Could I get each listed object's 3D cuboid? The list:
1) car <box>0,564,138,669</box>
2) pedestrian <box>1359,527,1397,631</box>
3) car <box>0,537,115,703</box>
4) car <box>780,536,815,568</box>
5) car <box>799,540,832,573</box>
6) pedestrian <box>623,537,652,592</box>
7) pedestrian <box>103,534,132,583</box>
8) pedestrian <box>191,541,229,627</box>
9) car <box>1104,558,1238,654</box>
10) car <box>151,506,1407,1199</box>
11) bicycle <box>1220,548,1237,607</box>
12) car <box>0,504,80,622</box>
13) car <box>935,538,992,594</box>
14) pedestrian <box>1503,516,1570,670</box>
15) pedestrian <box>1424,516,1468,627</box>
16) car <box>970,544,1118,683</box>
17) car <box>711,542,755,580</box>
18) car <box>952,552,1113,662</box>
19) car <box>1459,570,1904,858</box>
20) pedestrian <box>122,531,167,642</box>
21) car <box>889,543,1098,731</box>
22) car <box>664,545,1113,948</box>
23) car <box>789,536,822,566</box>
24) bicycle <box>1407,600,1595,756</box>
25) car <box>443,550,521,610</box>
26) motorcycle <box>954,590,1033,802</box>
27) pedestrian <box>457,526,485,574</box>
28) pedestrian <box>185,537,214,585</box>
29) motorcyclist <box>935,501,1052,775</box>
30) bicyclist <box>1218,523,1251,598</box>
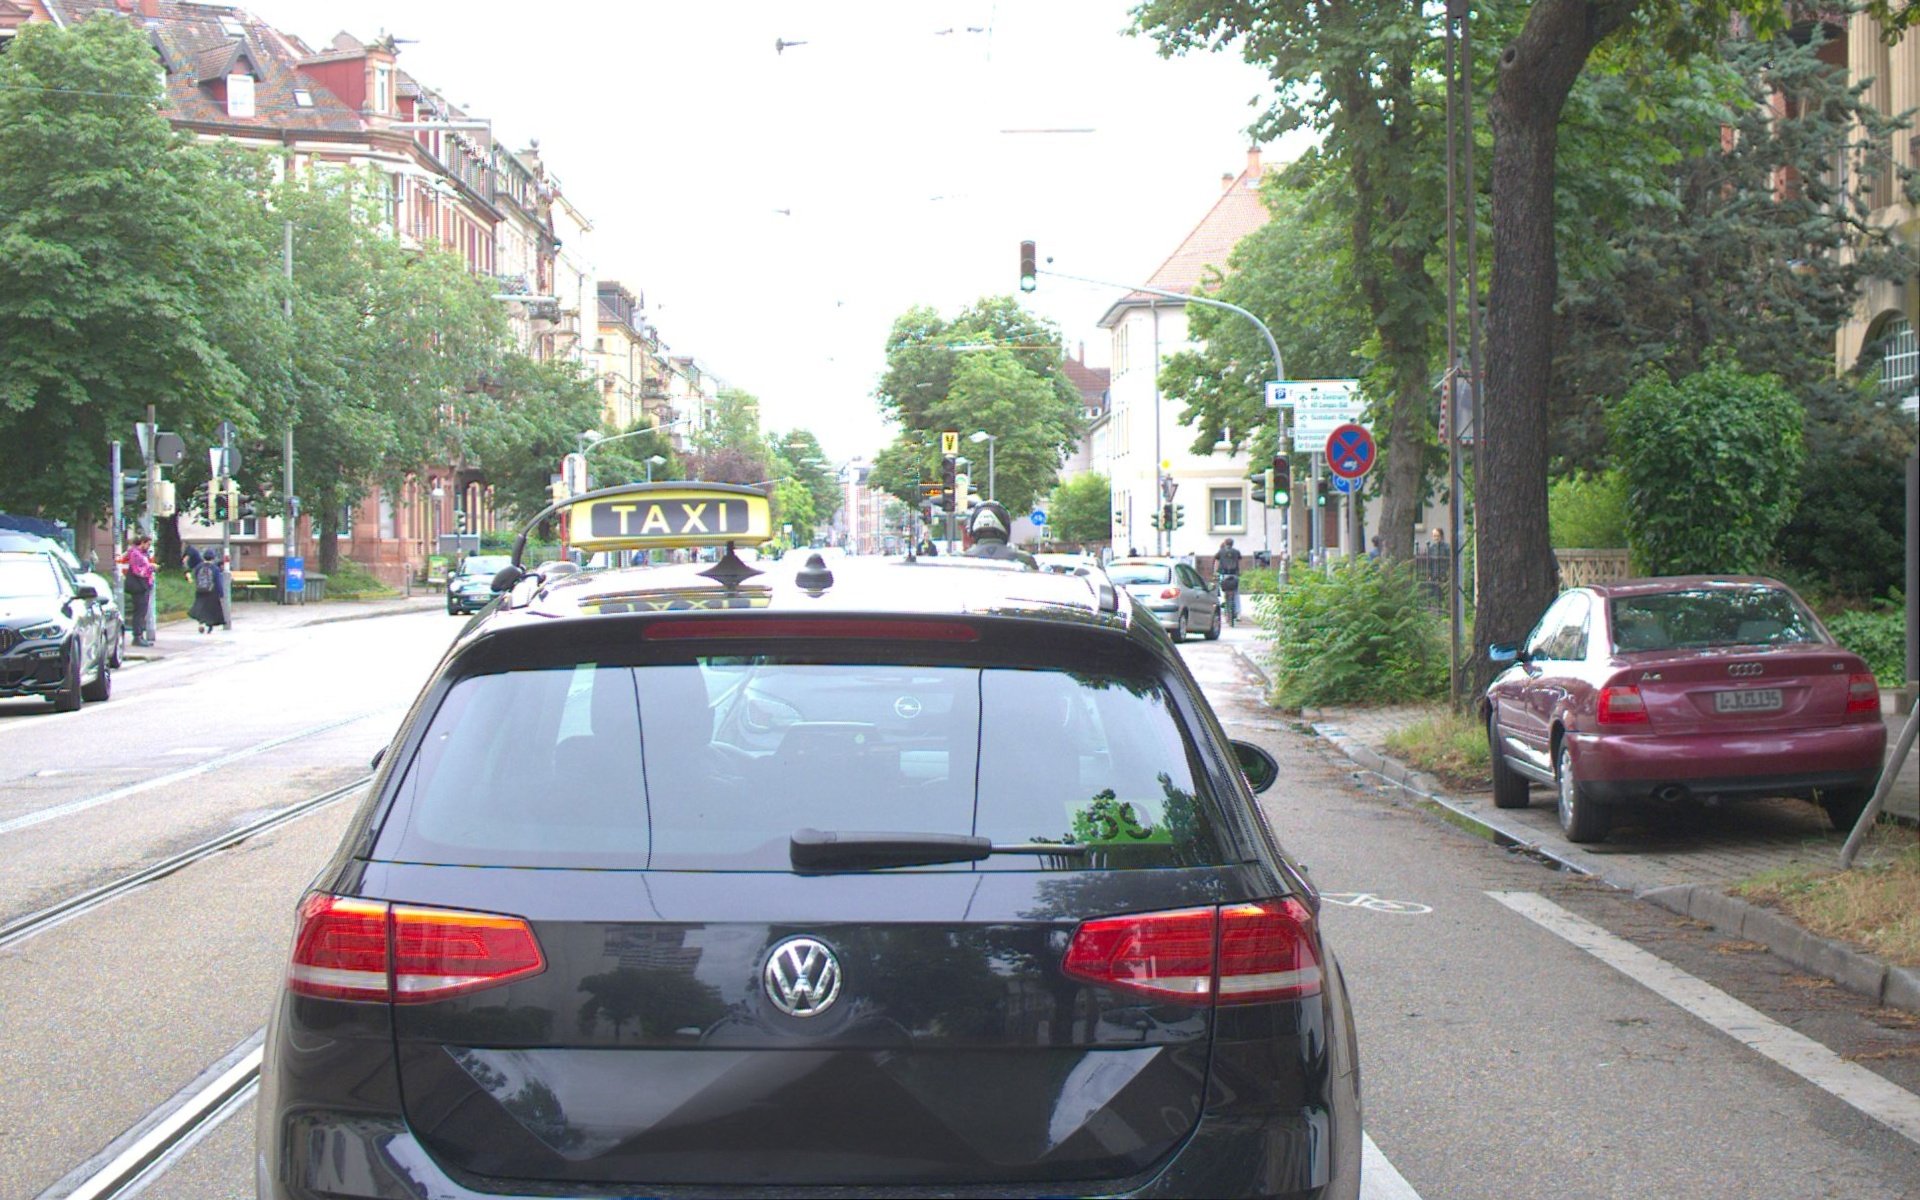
[{"bbox_3d":[-12.956,0.208,48.999,1.648,1.357,4.130,2,1,-3],"label":"car"},{"bbox_3d":[7.480,-0.384,61.566,0.514,1.824,0.417,-3,1,16],"label":"pedestrian"},{"bbox_3d":[-10.145,0.201,36.373,1.882,1.606,4.889,-3,1,-9],"label":"car"},{"bbox_3d":[-8.419,-2.501,178.307,1.721,1.617,3.864,-1,1,-1],"label":"car"},{"bbox_3d":[-8.906,-2.684,212.218,1.993,2.007,4.000,1,0,-2],"label":"car"},{"bbox_3d":[-8.848,-0.979,94.403,0.714,1.515,0.590,0,1,1],"label":"pedestrian"},{"bbox_3d":[-26.455,-1.310,107.956,0.589,1.515,0.647,0,1,35],"label":"pedestrian"},{"bbox_3d":[-14.487,-0.317,66.389,0.589,1.657,0.839,0,1,-4],"label":"pedestrian"},{"bbox_3d":[3.570,0.083,58.856,1.993,1.572,4.000,1,0,-1],"label":"car"},{"bbox_3d":[-0.270,0.607,6.731,1.723,1.541,4.000,0,1,-1],"label":"car"},{"bbox_3d":[5.648,-0.485,72.244,0.297,1.219,1.430,0,1,7],"label":"bicycle"},{"bbox_3d":[-20.939,-0.796,72.755,2.180,2.409,5.377,-1,1,-43],"label":"car"},{"bbox_3d":[0.126,-1.260,126.674,2.033,2.007,4.000,1,0,-1],"label":"car"},{"bbox_3d":[6.819,-0.090,40.709,0.632,1.808,0.726,0,1,-3],"label":"pedestrian"},{"bbox_3d":[8.188,-0.481,57.939,0.585,1.824,0.604,-3,1,2],"label":"pedestrian"},{"bbox_3d":[0.954,0.142,40.751,1.606,1.550,3.578,1,0,-1],"label":"car"},{"bbox_3d":[-9.970,-1.727,151.076,1.721,1.617,3.864,-1,1,-1],"label":"car"},{"bbox_3d":[1.046,0.068,47.295,1.892,1.403,3.999,-1,1,6],"label":"car"},{"bbox_3d":[4.042,0.571,19.908,1.602,1.394,4.227,-2,1,-1],"label":"car"},{"bbox_3d":[-13.670,-0.231,57.633,0.623,1.836,0.610,0,1,-3],"label":"pedestrian"},{"bbox_3d":[0.254,0.274,30.416,1.723,1.541,4.000,0,1,-1],"label":"car"},{"bbox_3d":[-0.297,0.533,15.235,1.723,1.541,4.000,0,1,-1],"label":"car"},{"bbox_3d":[-8.620,-2.748,192.006,1.721,1.617,3.864,-1,1,-1],"label":"car"},{"bbox_3d":[4.318,0.607,27.351,0.433,1.194,1.899,0,0,45],"label":"bicycle"},{"bbox_3d":[-11.753,-0.509,84.714,1.608,1.417,3.487,-1,1,-3],"label":"car"},{"bbox_3d":[0.197,0.568,21.464,0.446,1.231,1.907,-1,1,-1],"label":"motorcycle"},{"bbox_3d":[-15.411,-1.575,108.402,0.589,1.515,0.647,0,1,35],"label":"pedestrian"},{"bbox_3d":[-23.722,-1.218,107.264,0.589,1.515,0.647,0,1,35],"label":"pedestrian"},{"bbox_3d":[0.202,0.227,21.567,0.703,1.686,0.804,-1,1,-1],"label":"motorcyclist"},{"bbox_3d":[5.774,-0.840,72.354,0.651,1.563,0.695,0,1,7],"label":"bicyclist"}]
